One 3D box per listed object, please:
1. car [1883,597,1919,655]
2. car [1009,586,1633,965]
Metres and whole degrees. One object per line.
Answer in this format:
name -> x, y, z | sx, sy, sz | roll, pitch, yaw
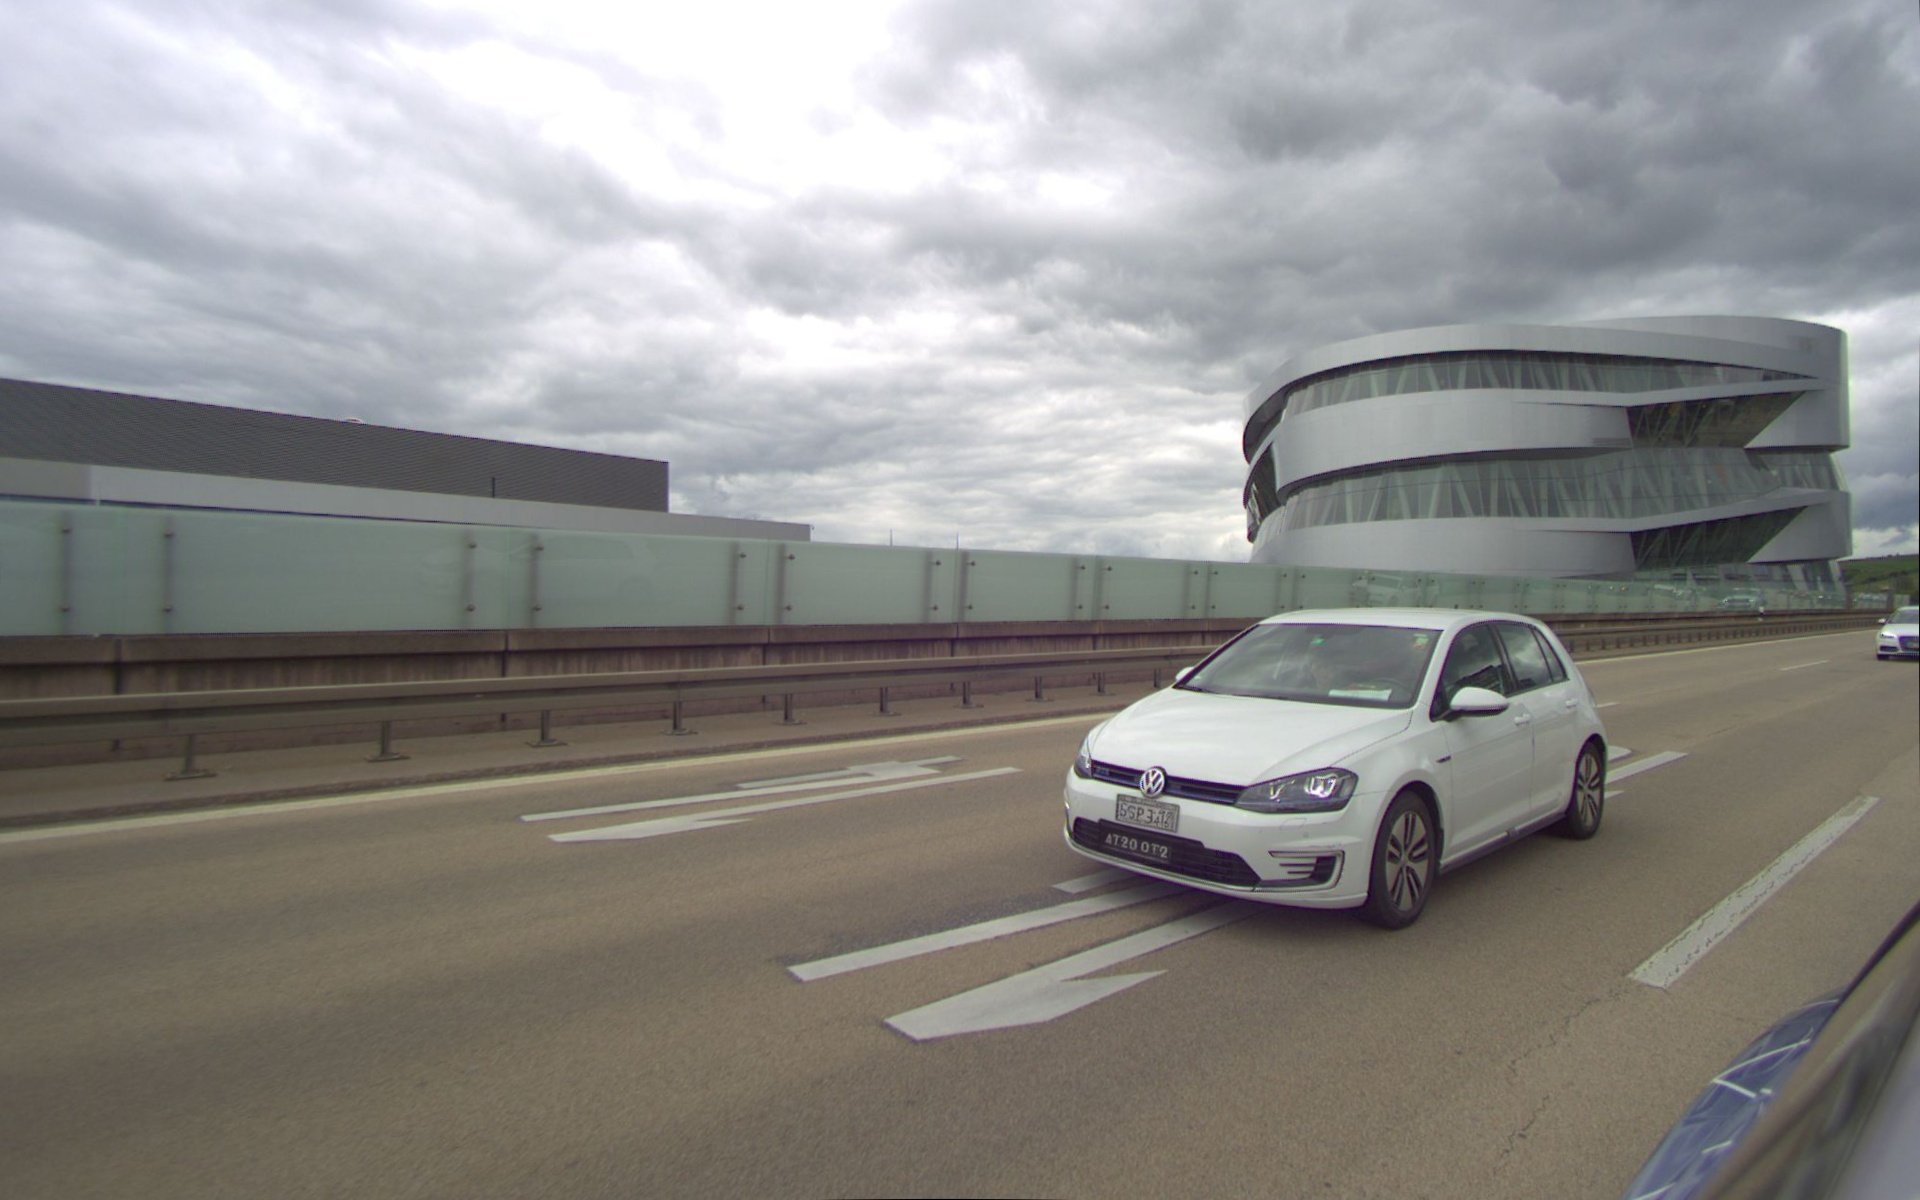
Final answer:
car -> 26.079, 0.659, 26.801 | 3.861, 1.470, 1.848 | 0, 0, -38
car -> 2.328, 0.677, 5.952 | 4.002, 1.470, 1.757 | 0, 1, -42
